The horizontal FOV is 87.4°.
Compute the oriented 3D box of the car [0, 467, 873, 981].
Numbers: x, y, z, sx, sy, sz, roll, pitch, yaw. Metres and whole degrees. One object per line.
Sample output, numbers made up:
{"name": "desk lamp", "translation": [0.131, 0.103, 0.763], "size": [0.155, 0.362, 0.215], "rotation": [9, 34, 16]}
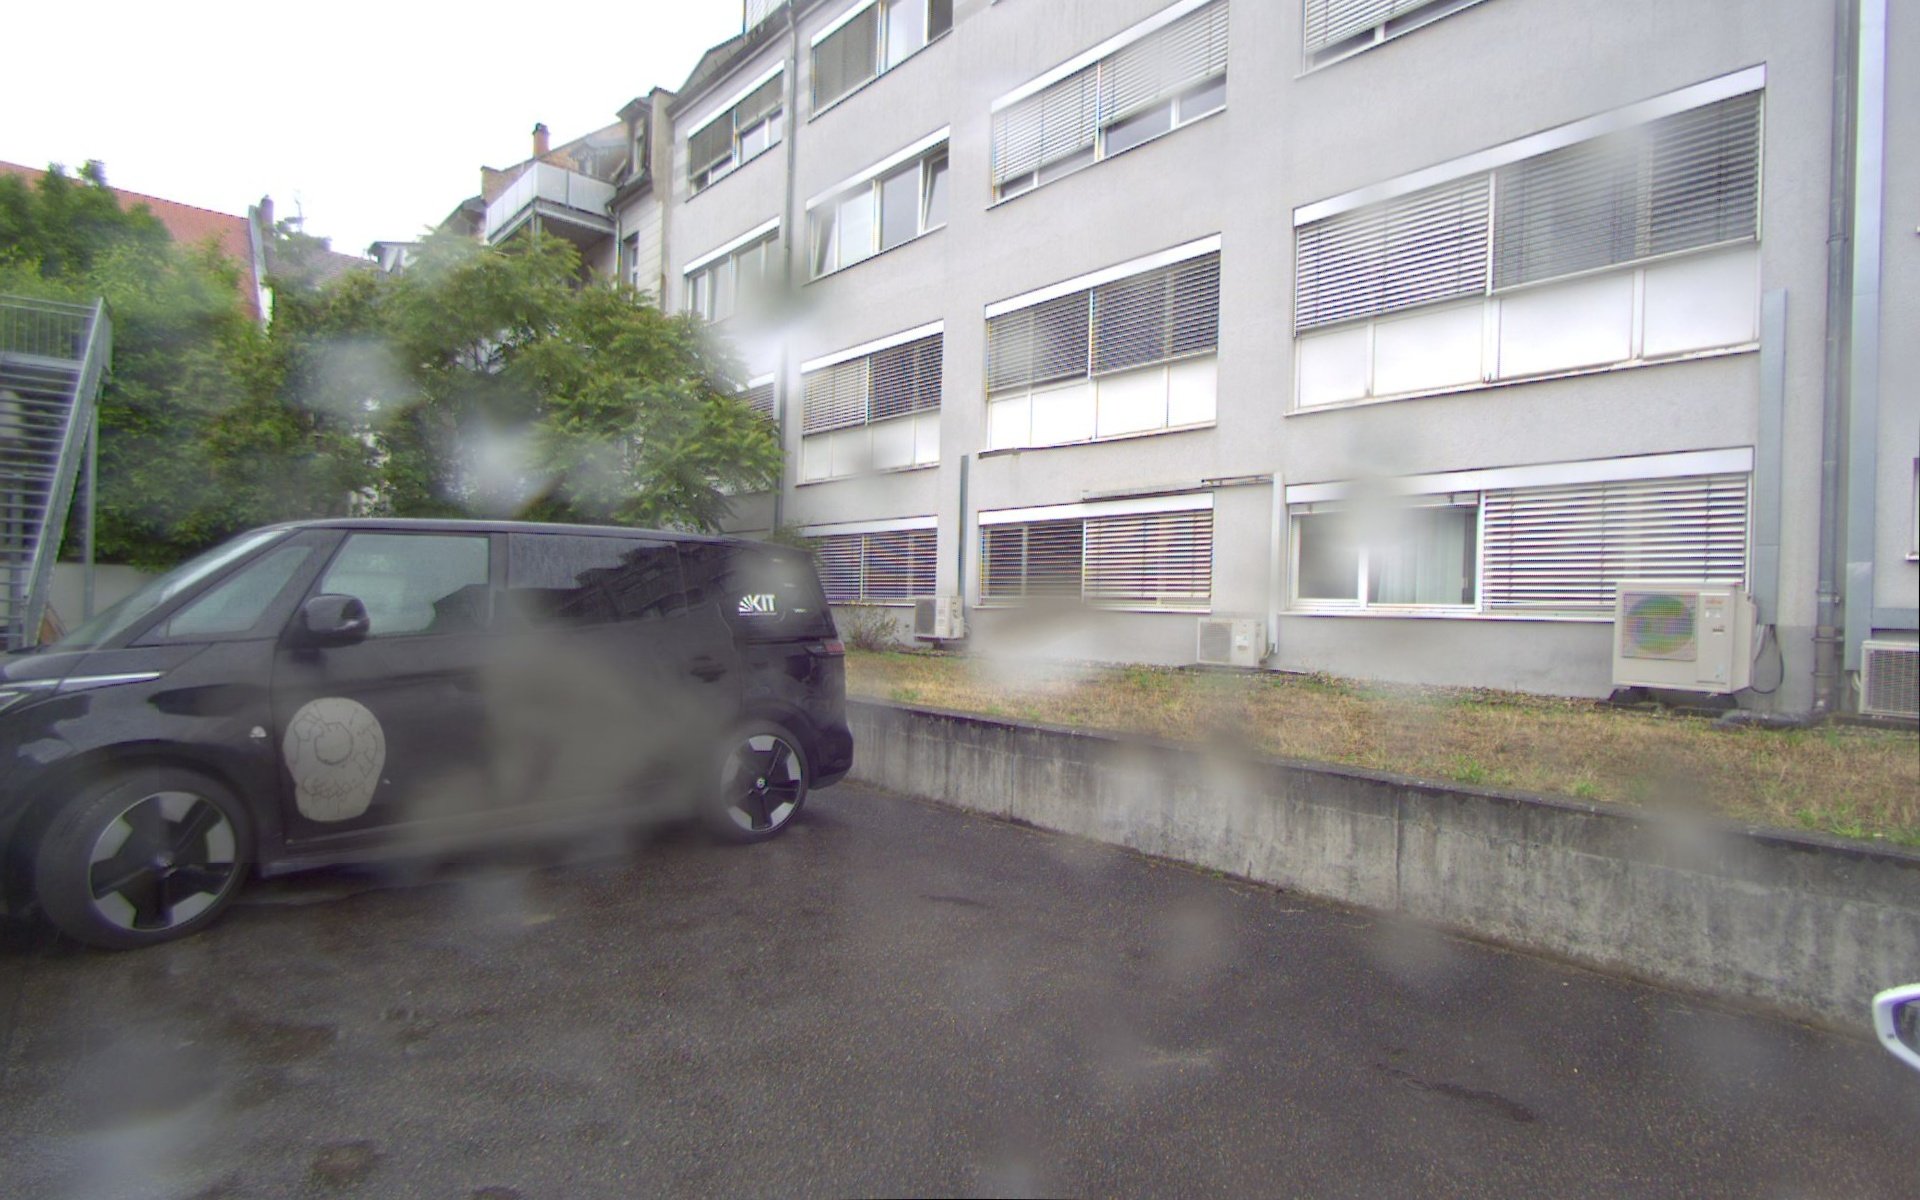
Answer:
{"name": "car", "translation": [-2.896, 0.519, 5.831], "size": [4.492, 1.922, 2.020], "rotation": [2, -2, -44]}
